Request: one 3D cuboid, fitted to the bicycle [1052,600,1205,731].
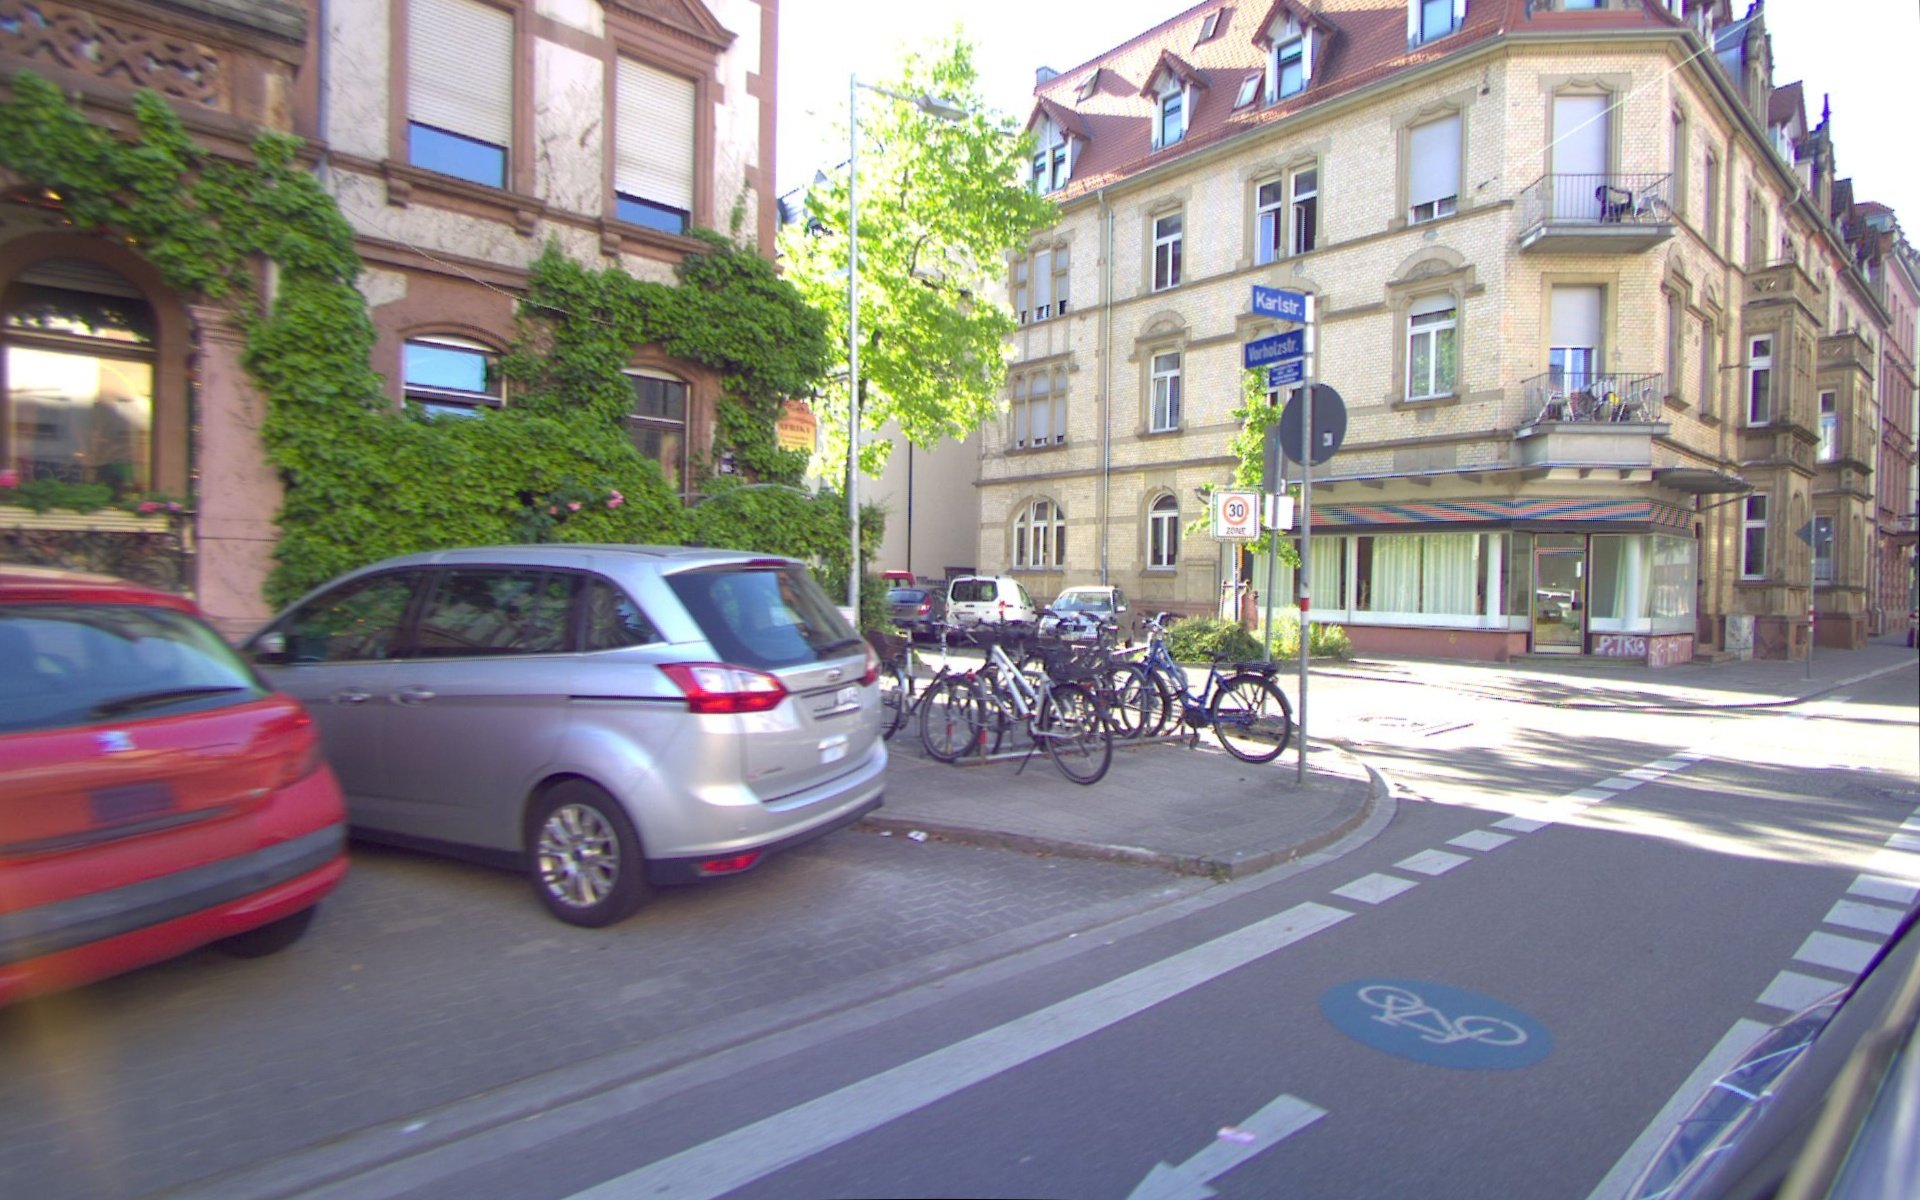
[{"bbox_3d":[1.602,0.584,9.843,0.541,1.141,1.562,0,1,-34],"label":"bicycle"}]

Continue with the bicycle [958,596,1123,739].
[{"bbox_3d":[0.671,0.540,9.025,0.541,1.141,1.680,0,1,-34],"label":"bicycle"}]

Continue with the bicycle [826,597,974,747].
[{"bbox_3d":[-0.544,0.552,8.599,0.541,1.141,1.562,0,1,-34],"label":"bicycle"}]

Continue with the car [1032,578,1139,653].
[{"bbox_3d":[2.887,0.286,22.729,1.749,1.551,3.511,0,1,18],"label":"car"}]

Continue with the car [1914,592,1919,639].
[{"bbox_3d":[32.849,0.532,33.148,4.325,1.500,1.870,-1,5,-41],"label":"car"}]

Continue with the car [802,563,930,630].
[{"bbox_3d":[-2.834,-0.145,31.054,1.763,1.919,3.903,0,1,37],"label":"car"}]

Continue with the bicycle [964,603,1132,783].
[{"bbox_3d":[0.588,0.602,7.294,0.289,1.141,1.565,0,1,-34],"label":"bicycle"}]

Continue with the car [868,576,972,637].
[{"bbox_3d":[-1.034,0.126,27.719,1.749,1.551,3.511,0,1,18],"label":"car"}]

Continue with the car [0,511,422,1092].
[{"bbox_3d":[-4.229,0.525,3.844,3.958,1.556,1.902,0,1,25],"label":"car"}]

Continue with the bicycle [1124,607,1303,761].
[{"bbox_3d":[2.083,0.647,8.431,0.542,1.141,1.400,0,1,-40],"label":"bicycle"}]

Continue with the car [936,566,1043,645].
[{"bbox_3d":[0.828,0.090,25.819,1.749,1.853,3.718,0,1,18],"label":"car"}]

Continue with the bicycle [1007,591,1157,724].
[{"bbox_3d":[1.112,0.491,9.525,0.518,1.141,1.562,0,1,-34],"label":"bicycle"}]

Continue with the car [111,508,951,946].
[{"bbox_3d":[-2.373,0.443,5.505,4.320,1.616,1.838,0,1,25],"label":"car"}]

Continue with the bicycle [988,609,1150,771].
[{"bbox_3d":[0.791,0.631,7.748,0.301,1.092,1.562,0,1,-34],"label":"bicycle"}]
